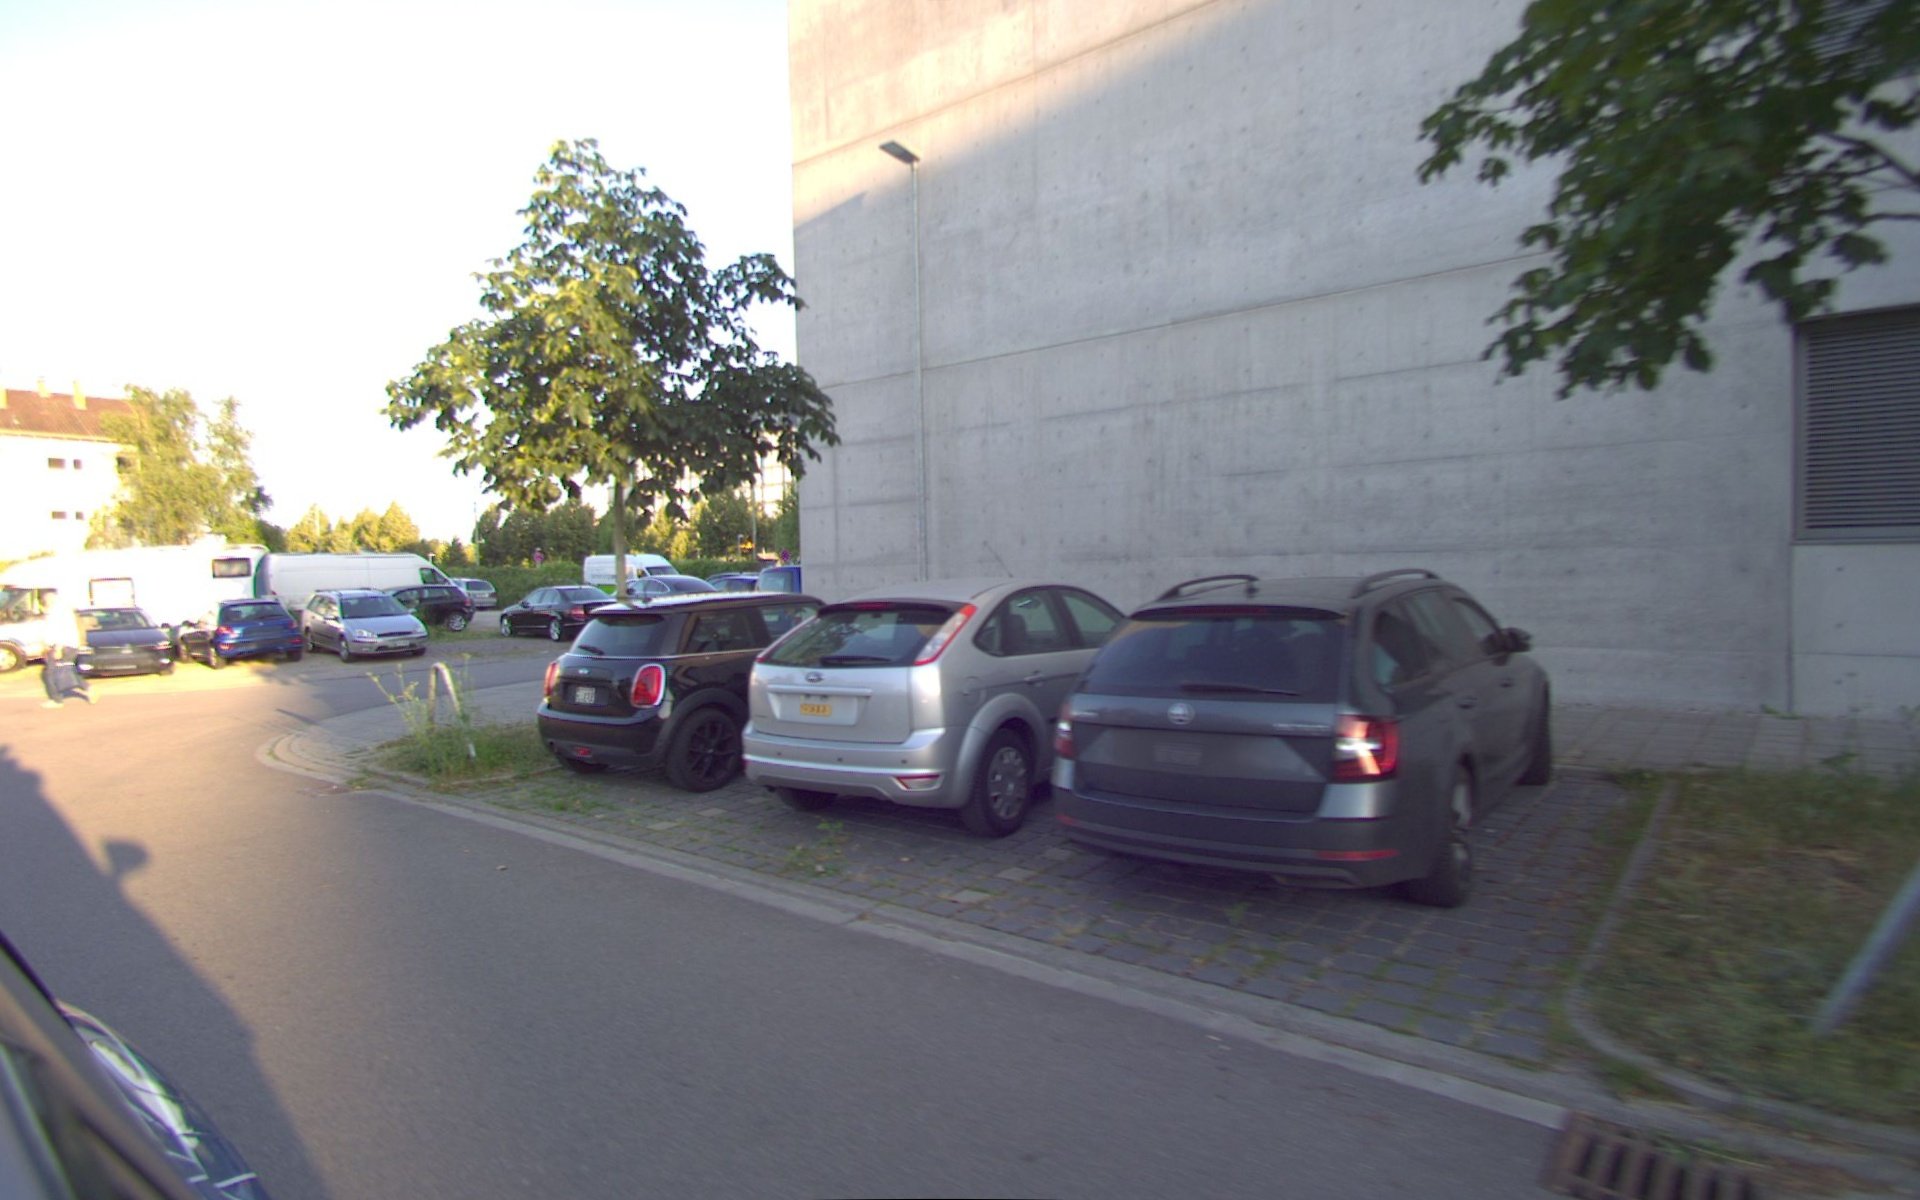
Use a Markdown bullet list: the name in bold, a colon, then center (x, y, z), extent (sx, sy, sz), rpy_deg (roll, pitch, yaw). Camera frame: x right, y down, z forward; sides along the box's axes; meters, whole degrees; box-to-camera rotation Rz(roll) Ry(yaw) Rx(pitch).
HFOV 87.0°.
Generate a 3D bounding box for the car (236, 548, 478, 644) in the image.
- **car**: center (-19.005, -0.240, 32.279), extent (2.218, 2.693, 6.188), rpy_deg (0, 3, 36)

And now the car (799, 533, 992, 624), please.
- **car**: center (-2.328, -0.692, 34.568), extent (6.978, 2.822, 2.184), rpy_deg (0, 2, 40)

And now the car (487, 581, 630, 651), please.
- **car**: center (-10.927, 0.372, 27.422), extent (4.401, 1.490, 1.647), rpy_deg (4, 6, 39)

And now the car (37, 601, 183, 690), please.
- **car**: center (-17.699, 0.847, 20.996), extent (4.360, 1.530, 1.669), rpy_deg (1, 4, 42)

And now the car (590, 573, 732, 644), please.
- **car**: center (-8.489, 0.178, 28.580), extent (4.401, 1.633, 1.647), rpy_deg (4, 6, 39)

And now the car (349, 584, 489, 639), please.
- **car**: center (-16.481, 0.307, 30.939), extent (1.511, 1.458, 3.408), rpy_deg (0, 3, 36)

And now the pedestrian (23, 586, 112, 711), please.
- **pedestrian**: center (-13.991, 0.735, 15.865), extent (0.855, 1.864, 0.890), rpy_deg (-1, 0, 39)

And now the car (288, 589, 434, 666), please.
- **car**: center (-14.176, 0.572, 23.869), extent (4.201, 1.490, 1.646), rpy_deg (2, 5, 40)

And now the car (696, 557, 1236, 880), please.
- **car**: center (0.342, 0.532, 7.245), extent (1.842, 1.540, 4.051), rpy_deg (-1, 3, 36)

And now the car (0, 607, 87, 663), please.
- **car**: center (-25.505, 0.978, 26.363), extent (1.685, 1.338, 3.784), rpy_deg (-1, 3, 29)

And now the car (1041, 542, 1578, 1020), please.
- **car**: center (2.157, 0.522, 5.361), extent (1.581, 1.523, 3.963), rpy_deg (-2, 2, 36)

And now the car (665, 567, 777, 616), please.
- **car**: center (-8.882, -0.329, 37.482), extent (4.401, 1.633, 1.647), rpy_deg (0, 4, 39)

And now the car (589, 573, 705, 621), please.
- **car**: center (-10.933, -0.082, 35.209), extent (4.401, 1.510, 1.647), rpy_deg (-1, 3, 39)

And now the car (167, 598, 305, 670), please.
- **car**: center (-16.406, 0.702, 22.868), extent (3.719, 1.433, 1.646), rpy_deg (0, 2, 40)

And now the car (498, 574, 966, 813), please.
- **car**: center (-1.763, 0.611, 8.835), extent (1.766, 1.493, 3.702), rpy_deg (-1, 2, 36)

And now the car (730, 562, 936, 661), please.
- **car**: center (-2.554, 0.190, 21.175), extent (1.846, 1.845, 4.044), rpy_deg (-3, 0, 40)

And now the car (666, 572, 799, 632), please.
- **car**: center (-7.059, -0.008, 31.212), extent (4.401, 1.510, 1.647), rpy_deg (4, 6, 39)

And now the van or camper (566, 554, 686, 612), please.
- **van or camper**: center (-16.641, -0.839, 50.200), extent (6.624, 2.710, 1.998), rpy_deg (0, 3, 35)

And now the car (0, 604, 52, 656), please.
- **car**: center (-27.759, 0.923, 27.855), extent (1.697, 1.377, 3.705), rpy_deg (-1, 3, 27)

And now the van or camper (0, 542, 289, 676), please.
- **van or camper**: center (-20.635, 0.087, 24.628), extent (2.402, 2.919, 6.686), rpy_deg (0, 3, 34)

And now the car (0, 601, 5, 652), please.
- **car**: center (-30.162, 0.894, 29.039), extent (1.697, 1.530, 3.608), rpy_deg (-1, 3, 27)
